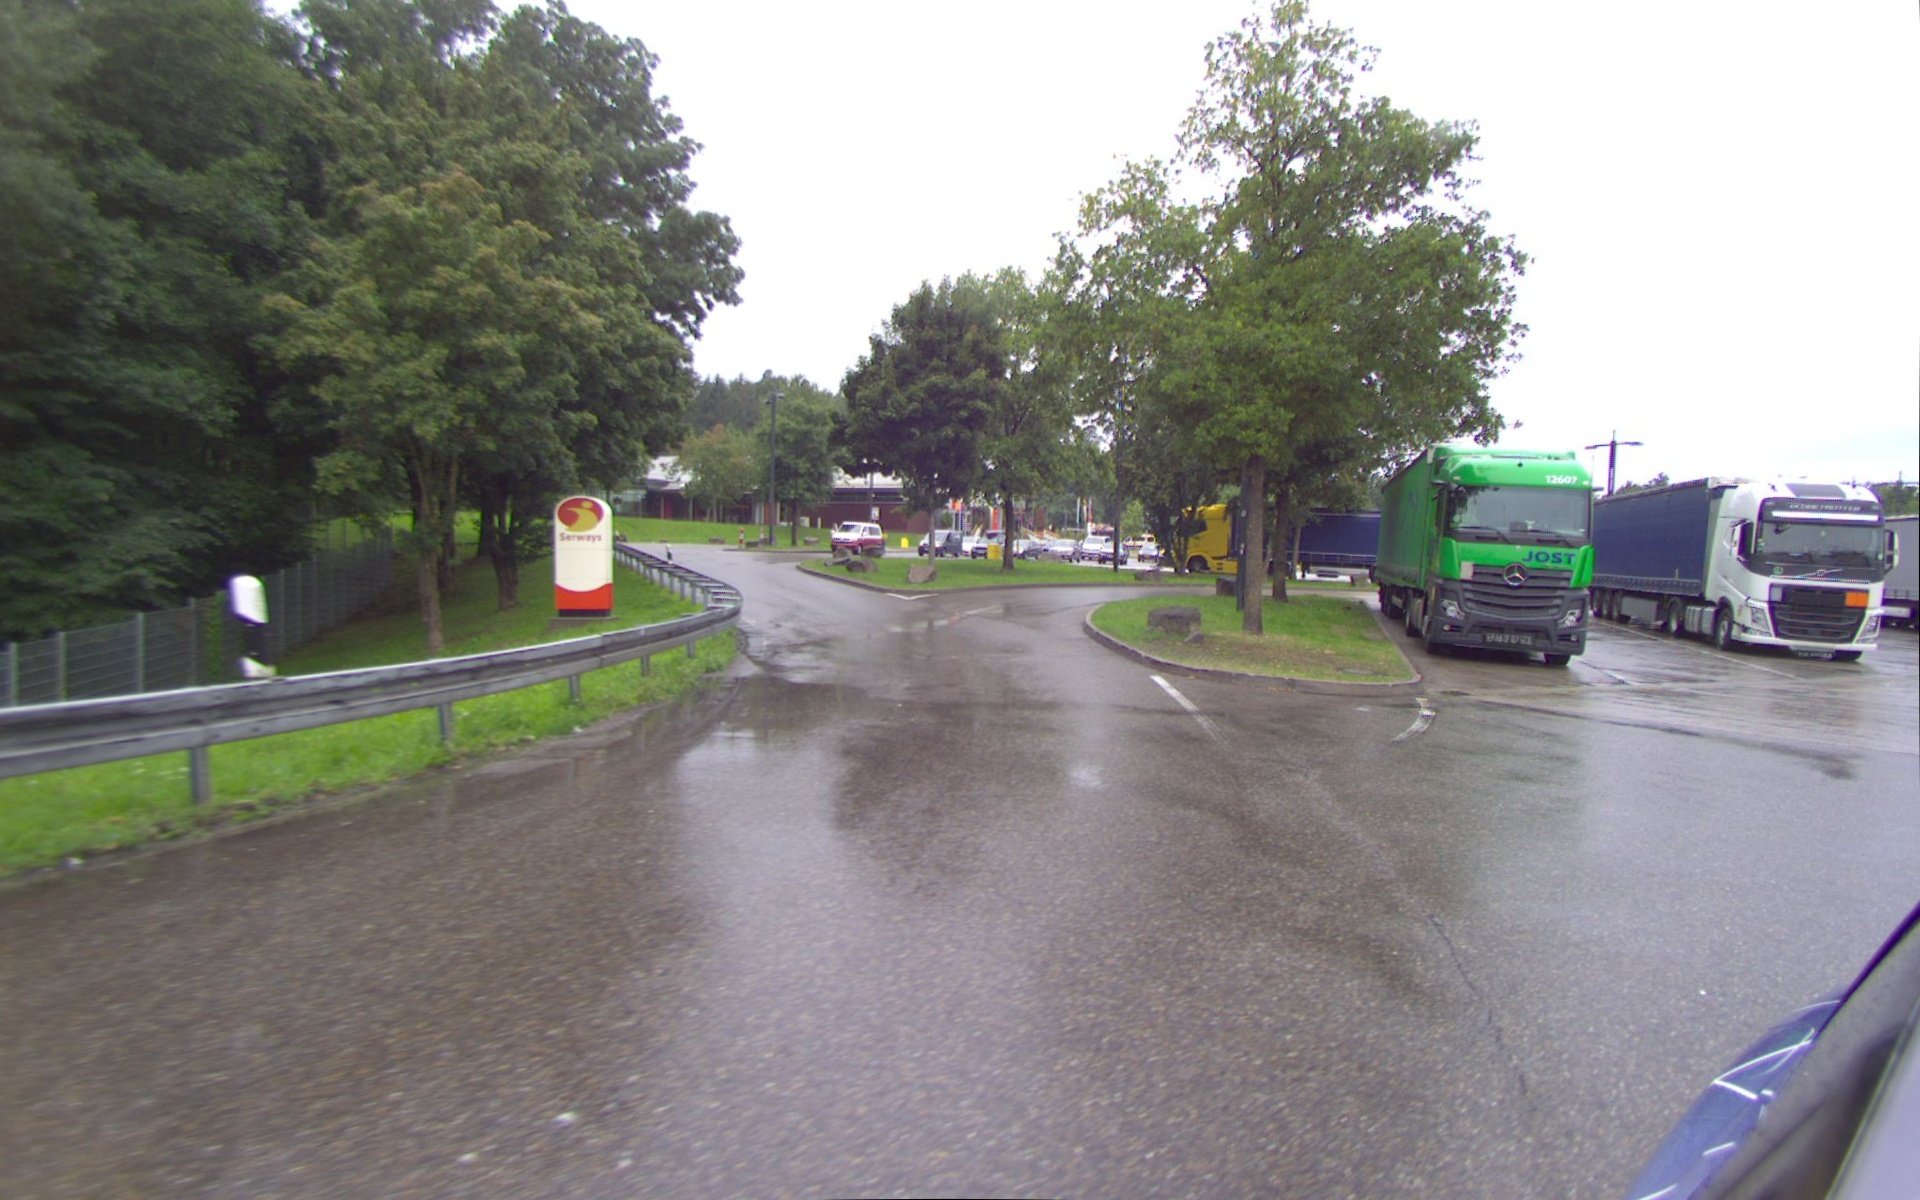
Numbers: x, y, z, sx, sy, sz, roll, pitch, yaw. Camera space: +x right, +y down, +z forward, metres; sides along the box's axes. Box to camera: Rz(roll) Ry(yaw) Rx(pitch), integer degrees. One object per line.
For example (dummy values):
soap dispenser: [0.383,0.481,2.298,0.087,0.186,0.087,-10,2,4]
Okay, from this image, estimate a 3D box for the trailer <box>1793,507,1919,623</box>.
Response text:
trailer: [35.209,-1.241,36.790,2.810,3.965,13.870,4,4,20]

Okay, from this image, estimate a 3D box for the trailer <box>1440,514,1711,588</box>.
trailer: [37.681,-3.042,62.762,13.994,4.311,2.650,1,1,21]

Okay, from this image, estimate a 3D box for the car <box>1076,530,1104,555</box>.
car: [10.652,-4.687,82.958,1.744,1.905,3.981,1,1,15]

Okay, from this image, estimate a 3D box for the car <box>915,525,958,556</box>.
car: [-1.555,-3.979,68.482,1.792,1.905,3.981,1,1,15]

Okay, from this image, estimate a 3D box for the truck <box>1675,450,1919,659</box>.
truck: [19.215,-1.109,23.454,2.793,4.194,5.269,4,4,20]

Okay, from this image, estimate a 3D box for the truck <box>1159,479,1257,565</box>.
truck: [14.016,-4.310,57.088,5.016,4.609,3.415,1,1,21]

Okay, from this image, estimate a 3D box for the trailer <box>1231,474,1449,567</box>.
trailer: [20.296,-4.169,54.664,10.609,4.609,3.415,1,1,21]

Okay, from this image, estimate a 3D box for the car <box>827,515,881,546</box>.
car: [-6.690,-4.396,64.420,1.940,1.756,4.521,1,1,15]

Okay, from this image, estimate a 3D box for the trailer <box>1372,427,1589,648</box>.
trailer: [12.793,-1.624,26.371,2.791,4.198,13.889,4,4,19]

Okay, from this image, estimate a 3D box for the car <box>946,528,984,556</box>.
car: [0.396,-4.240,74.912,1.827,1.905,3.981,1,1,15]

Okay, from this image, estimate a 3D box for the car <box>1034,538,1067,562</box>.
car: [7.481,-4.082,83.364,1.972,1.821,3.983,4,3,15]

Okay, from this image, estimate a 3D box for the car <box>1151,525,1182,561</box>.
car: [15.797,-4.324,77.263,1.971,2.542,4.722,4,3,13]

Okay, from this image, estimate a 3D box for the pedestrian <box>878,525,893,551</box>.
pedestrian: [-4.956,-4.124,67.368,0.702,1.679,0.795,1,3,-26]

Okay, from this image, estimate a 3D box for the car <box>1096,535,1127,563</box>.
car: [10.890,-3.628,72.626,1.759,1.905,3.981,1,1,15]

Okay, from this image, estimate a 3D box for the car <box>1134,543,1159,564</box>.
car: [15.985,-3.978,86.691,1.802,1.697,3.981,1,1,15]

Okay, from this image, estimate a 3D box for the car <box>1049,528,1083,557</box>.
car: [7.592,-4.079,72.194,1.830,1.905,3.981,1,1,15]

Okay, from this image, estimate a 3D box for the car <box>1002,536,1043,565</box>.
car: [4.634,-3.620,74.334,1.974,1.910,4.373,4,3,18]

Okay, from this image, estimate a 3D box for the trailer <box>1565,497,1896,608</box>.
trailer: [36.430,-2.382,48.670,11.888,4.527,3.239,4,4,21]

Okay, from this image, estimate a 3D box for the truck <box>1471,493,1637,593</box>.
truck: [29.805,-2.924,51.165,6.457,4.561,3.239,4,3,20]

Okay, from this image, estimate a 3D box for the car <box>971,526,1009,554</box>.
car: [2.067,-4.062,68.621,1.733,1.711,3.981,1,1,15]

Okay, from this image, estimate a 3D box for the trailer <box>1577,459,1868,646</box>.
trailer: [21.731,-1.500,30.203,2.793,4.220,13.907,4,4,20]

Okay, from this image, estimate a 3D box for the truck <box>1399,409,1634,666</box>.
truck: [10.522,-1.258,19.866,2.791,4.198,5.964,4,4,19]

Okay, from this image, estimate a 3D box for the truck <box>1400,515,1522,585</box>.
truck: [32.016,-3.158,64.985,6.702,4.328,2.650,1,1,21]
